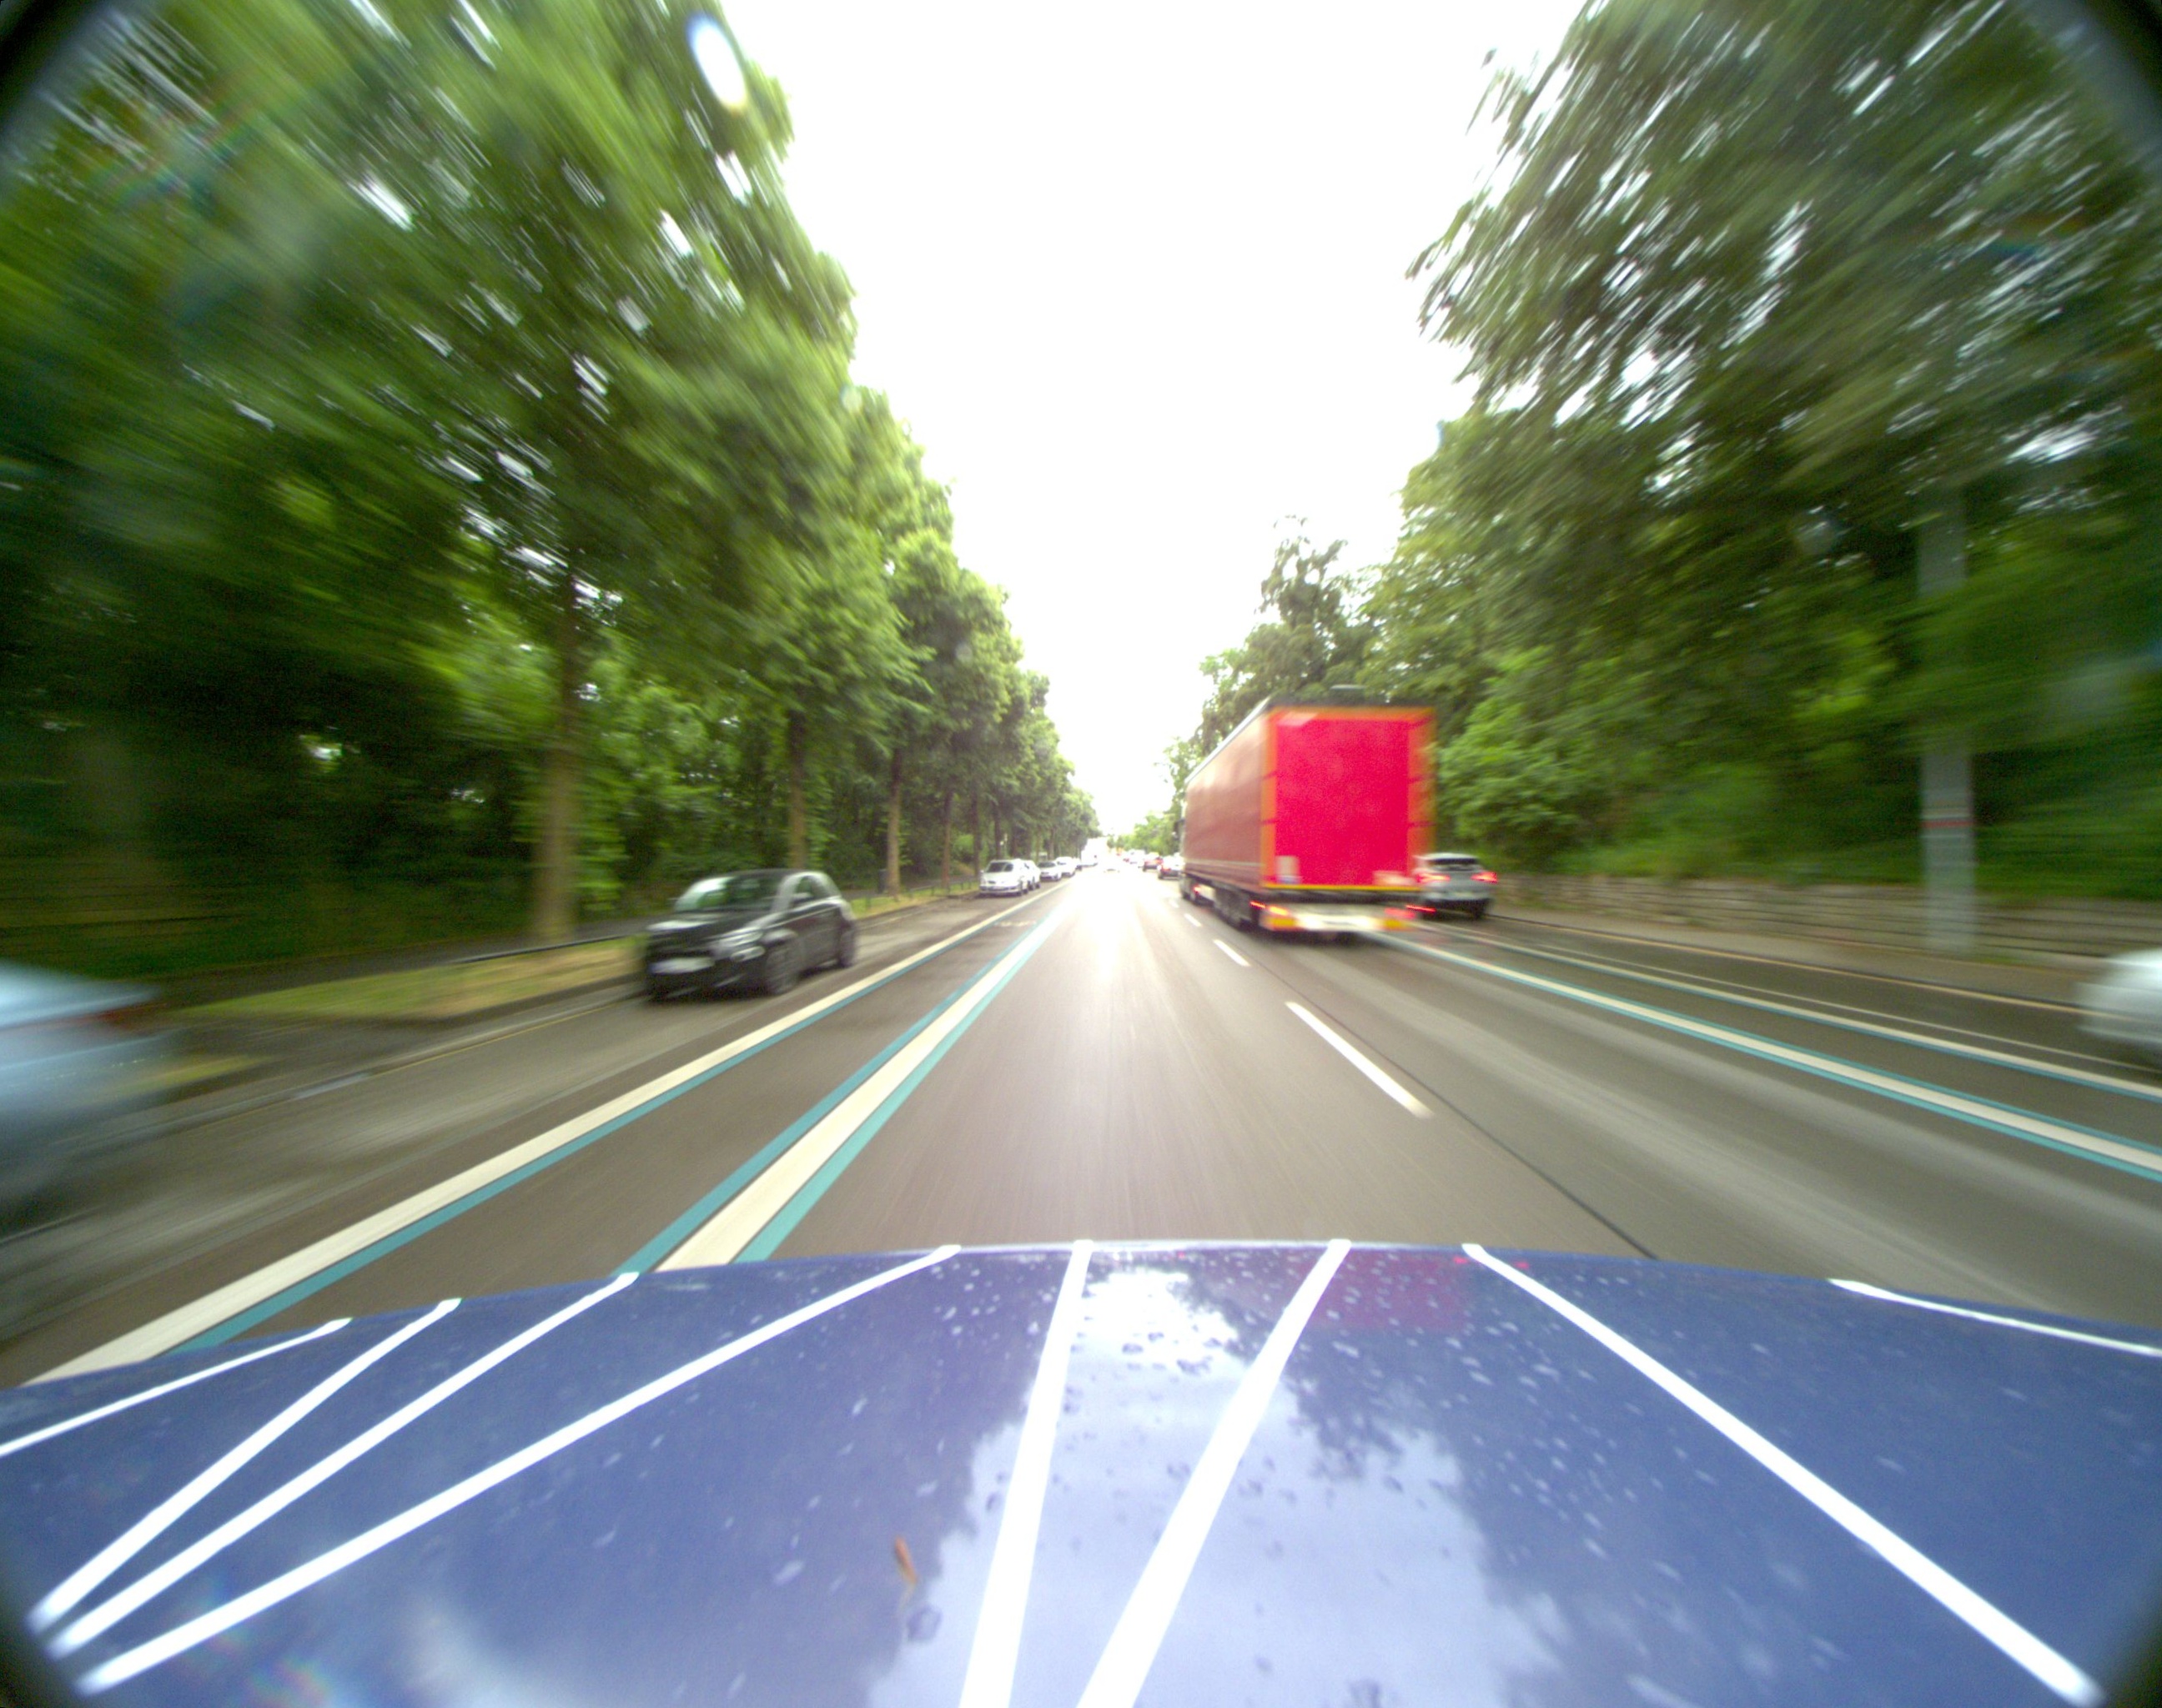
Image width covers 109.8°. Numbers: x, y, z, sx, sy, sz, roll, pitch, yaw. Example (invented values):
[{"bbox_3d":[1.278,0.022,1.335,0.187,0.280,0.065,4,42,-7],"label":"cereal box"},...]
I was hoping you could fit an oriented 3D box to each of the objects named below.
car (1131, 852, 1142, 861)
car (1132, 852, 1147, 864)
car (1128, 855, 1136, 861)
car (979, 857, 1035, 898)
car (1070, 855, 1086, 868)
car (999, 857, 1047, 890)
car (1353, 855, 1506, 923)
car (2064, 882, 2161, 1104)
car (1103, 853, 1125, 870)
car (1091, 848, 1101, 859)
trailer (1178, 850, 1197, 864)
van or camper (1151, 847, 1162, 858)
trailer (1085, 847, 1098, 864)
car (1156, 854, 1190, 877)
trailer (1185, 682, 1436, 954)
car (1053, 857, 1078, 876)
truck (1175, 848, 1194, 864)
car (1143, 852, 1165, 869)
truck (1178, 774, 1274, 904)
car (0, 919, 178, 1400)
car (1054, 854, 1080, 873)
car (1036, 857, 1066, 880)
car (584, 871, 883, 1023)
[{"bbox_3d":[10.949,0.477,149.908,1.958,1.629,4.445,1,0,3],"label":"car"},{"bbox_3d":[7.557,0.536,97.706,1.779,1.457,4.063,1,0,3],"label":"car"},{"bbox_3d":[13.317,1.074,199.898,2.042,1.639,4.478,-1,0,4],"label":"car"},{"bbox_3d":[-3.152,0.962,33.311,1.757,1.587,4.740,-2,0,2],"label":"car"},{"bbox_3d":[-0.307,0.867,88.845,1.699,1.468,3.998,-1,0,1],"label":"car"},{"bbox_3d":[-2.920,0.969,39.157,1.701,1.504,4.470,-2,0,4],"label":"car"},{"bbox_3d":[9.059,0.837,20.302,2.015,1.596,4.780,-1,0,2],"label":"car"},{"bbox_3d":[8.146,0.934,3.624,1.793,1.473,3.983,-1,0,1],"label":"car"},{"bbox_3d":[3.213,0.690,73.314,1.998,1.588,4.001,-2,0,3],"label":"car"},{"bbox_3d":[3.349,-0.070,165.648,1.998,2.231,4.000,-2,1,3],"label":"car"},{"bbox_3d":[13.195,0.395,94.085,1.347,1.647,2.271,-1,1,41],"label":"trailer"},{"bbox_3d":[17.155,-0.306,173.372,2.165,2.437,4.437,-1,0,3],"label":"van or camper"},{"bbox_3d":[1.591,0.229,117.782,1.988,2.550,4.000,-2,0,0],"label":"trailer"},{"bbox_3d":[6.079,0.743,50.633,1.919,1.448,4.621,1,0,3],"label":"car"},{"bbox_3d":[4.477,-0.599,18.346,2.694,4.234,12.771,1,0,3],"label":"trailer"},{"bbox_3d":[-1.253,0.999,62.475,1.702,1.445,3.947,-2,0,2],"label":"car"},{"bbox_3d":[13.569,0.287,99.537,2.097,2.002,5.161,-1,0,4],"label":"truck"},{"bbox_3d":[7.290,0.605,75.986,1.965,1.608,4.466,1,0,3],"label":"car"},{"bbox_3d":[4.832,-0.495,26.200,2.523,4.023,4.917,1,1,3],"label":"truck"},{"bbox_3d":[-4.538,1.055,0.601,1.904,1.538,4.755,-2,0,0],"label":"car"},{"bbox_3d":[-1.252,0.831,69.298,1.998,1.652,4.563,-2,0,2],"label":"car"},{"bbox_3d":[-2.039,0.982,52.507,1.702,1.445,4.098,-2,0,1],"label":"car"},{"bbox_3d":[-4.352,1.060,10.484,1.830,1.494,4.571,-1,0,2],"label":"car"}]
